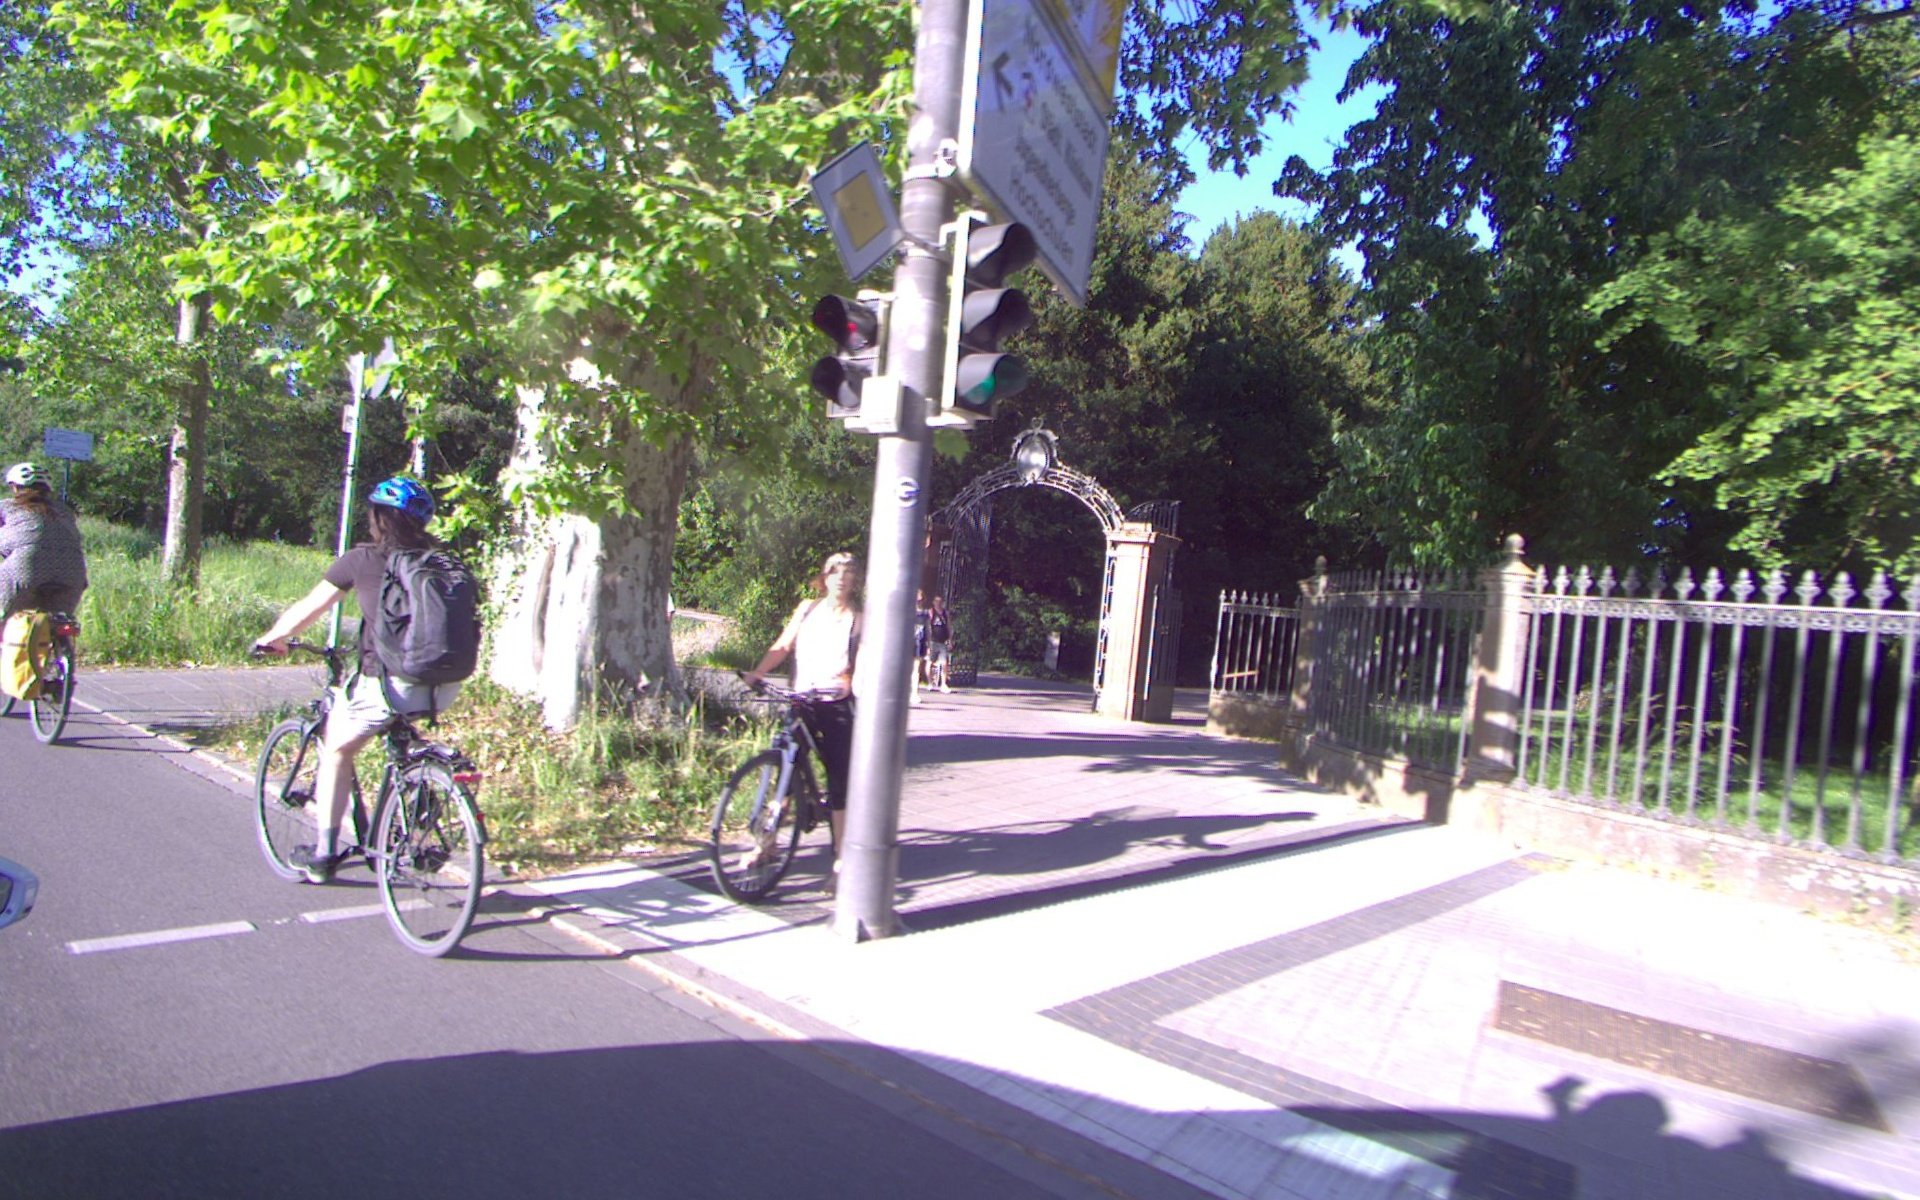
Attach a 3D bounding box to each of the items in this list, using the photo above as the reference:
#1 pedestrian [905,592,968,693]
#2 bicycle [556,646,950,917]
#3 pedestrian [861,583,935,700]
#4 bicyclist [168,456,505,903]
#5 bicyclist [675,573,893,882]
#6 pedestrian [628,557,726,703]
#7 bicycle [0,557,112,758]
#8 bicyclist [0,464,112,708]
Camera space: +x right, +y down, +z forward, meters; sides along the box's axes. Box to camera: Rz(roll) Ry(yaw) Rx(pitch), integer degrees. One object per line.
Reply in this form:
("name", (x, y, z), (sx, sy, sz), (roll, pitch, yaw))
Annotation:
("pedestrian", (-0.433, 0.782, 18.525), (0.671, 1.731, 0.689), (7, -1, 41))
("bicycle", (-0.992, 0.869, 5.343), (0.685, 1.109, 1.982), (6, 0, 39))
("pedestrian", (-0.928, 0.617, 15.013), (0.671, 1.654, 0.688), (7, 1, 41))
("bicyclist", (-2.447, 0.264, 3.965), (0.877, 1.520, 0.694), (6, 1, 30))
("bicyclist", (-0.936, 0.640, 5.389), (0.685, 1.466, 0.763), (7, 1, 39))
("pedestrian", (-3.223, 0.340, 11.447), (0.671, 1.565, 0.688), (7, 1, 41))
("bicycle", (-6.335, 0.318, 6.768), (2.108, 1.109, 0.691), (6, 1, 44))
("bicyclist", (-6.128, -0.099, 6.602), (0.790, 1.509, 0.691), (7, 1, 44))
